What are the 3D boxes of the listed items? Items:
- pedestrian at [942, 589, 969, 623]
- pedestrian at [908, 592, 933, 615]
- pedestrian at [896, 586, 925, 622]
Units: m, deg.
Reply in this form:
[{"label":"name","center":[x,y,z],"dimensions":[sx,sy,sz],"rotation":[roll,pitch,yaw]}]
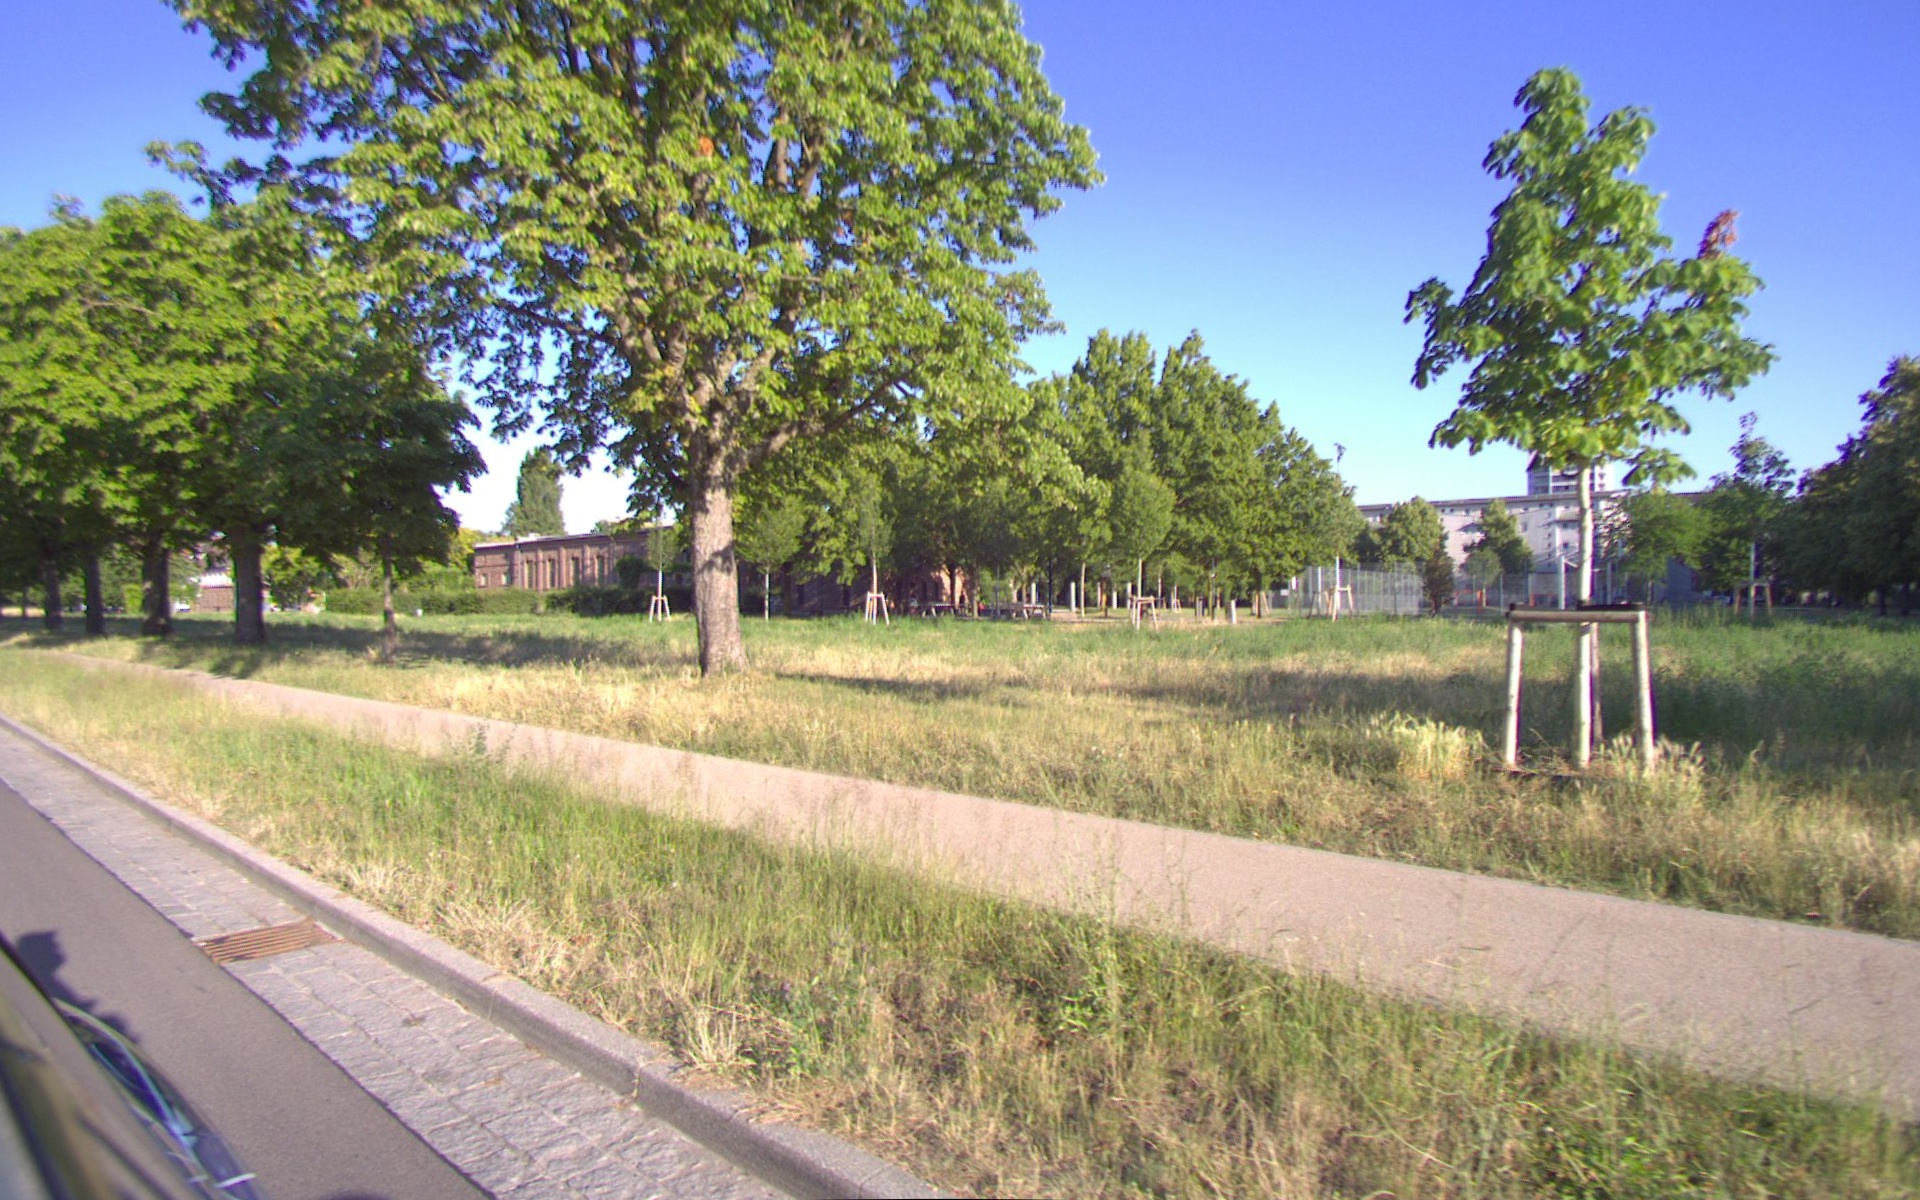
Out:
[{"label":"pedestrian","center":[-0.261,0.336,56.148],"dimensions":[1.099,1.877,0.984],"rotation":[-1,0,-43]},{"label":"pedestrian","center":[-2.254,0.208,58.223],"dimensions":[0.980,1.304,1.104],"rotation":[-1,0,32]},{"label":"pedestrian","center":[-2.617,0.188,53.422],"dimensions":[1.099,1.877,0.984],"rotation":[-1,0,-43]}]
